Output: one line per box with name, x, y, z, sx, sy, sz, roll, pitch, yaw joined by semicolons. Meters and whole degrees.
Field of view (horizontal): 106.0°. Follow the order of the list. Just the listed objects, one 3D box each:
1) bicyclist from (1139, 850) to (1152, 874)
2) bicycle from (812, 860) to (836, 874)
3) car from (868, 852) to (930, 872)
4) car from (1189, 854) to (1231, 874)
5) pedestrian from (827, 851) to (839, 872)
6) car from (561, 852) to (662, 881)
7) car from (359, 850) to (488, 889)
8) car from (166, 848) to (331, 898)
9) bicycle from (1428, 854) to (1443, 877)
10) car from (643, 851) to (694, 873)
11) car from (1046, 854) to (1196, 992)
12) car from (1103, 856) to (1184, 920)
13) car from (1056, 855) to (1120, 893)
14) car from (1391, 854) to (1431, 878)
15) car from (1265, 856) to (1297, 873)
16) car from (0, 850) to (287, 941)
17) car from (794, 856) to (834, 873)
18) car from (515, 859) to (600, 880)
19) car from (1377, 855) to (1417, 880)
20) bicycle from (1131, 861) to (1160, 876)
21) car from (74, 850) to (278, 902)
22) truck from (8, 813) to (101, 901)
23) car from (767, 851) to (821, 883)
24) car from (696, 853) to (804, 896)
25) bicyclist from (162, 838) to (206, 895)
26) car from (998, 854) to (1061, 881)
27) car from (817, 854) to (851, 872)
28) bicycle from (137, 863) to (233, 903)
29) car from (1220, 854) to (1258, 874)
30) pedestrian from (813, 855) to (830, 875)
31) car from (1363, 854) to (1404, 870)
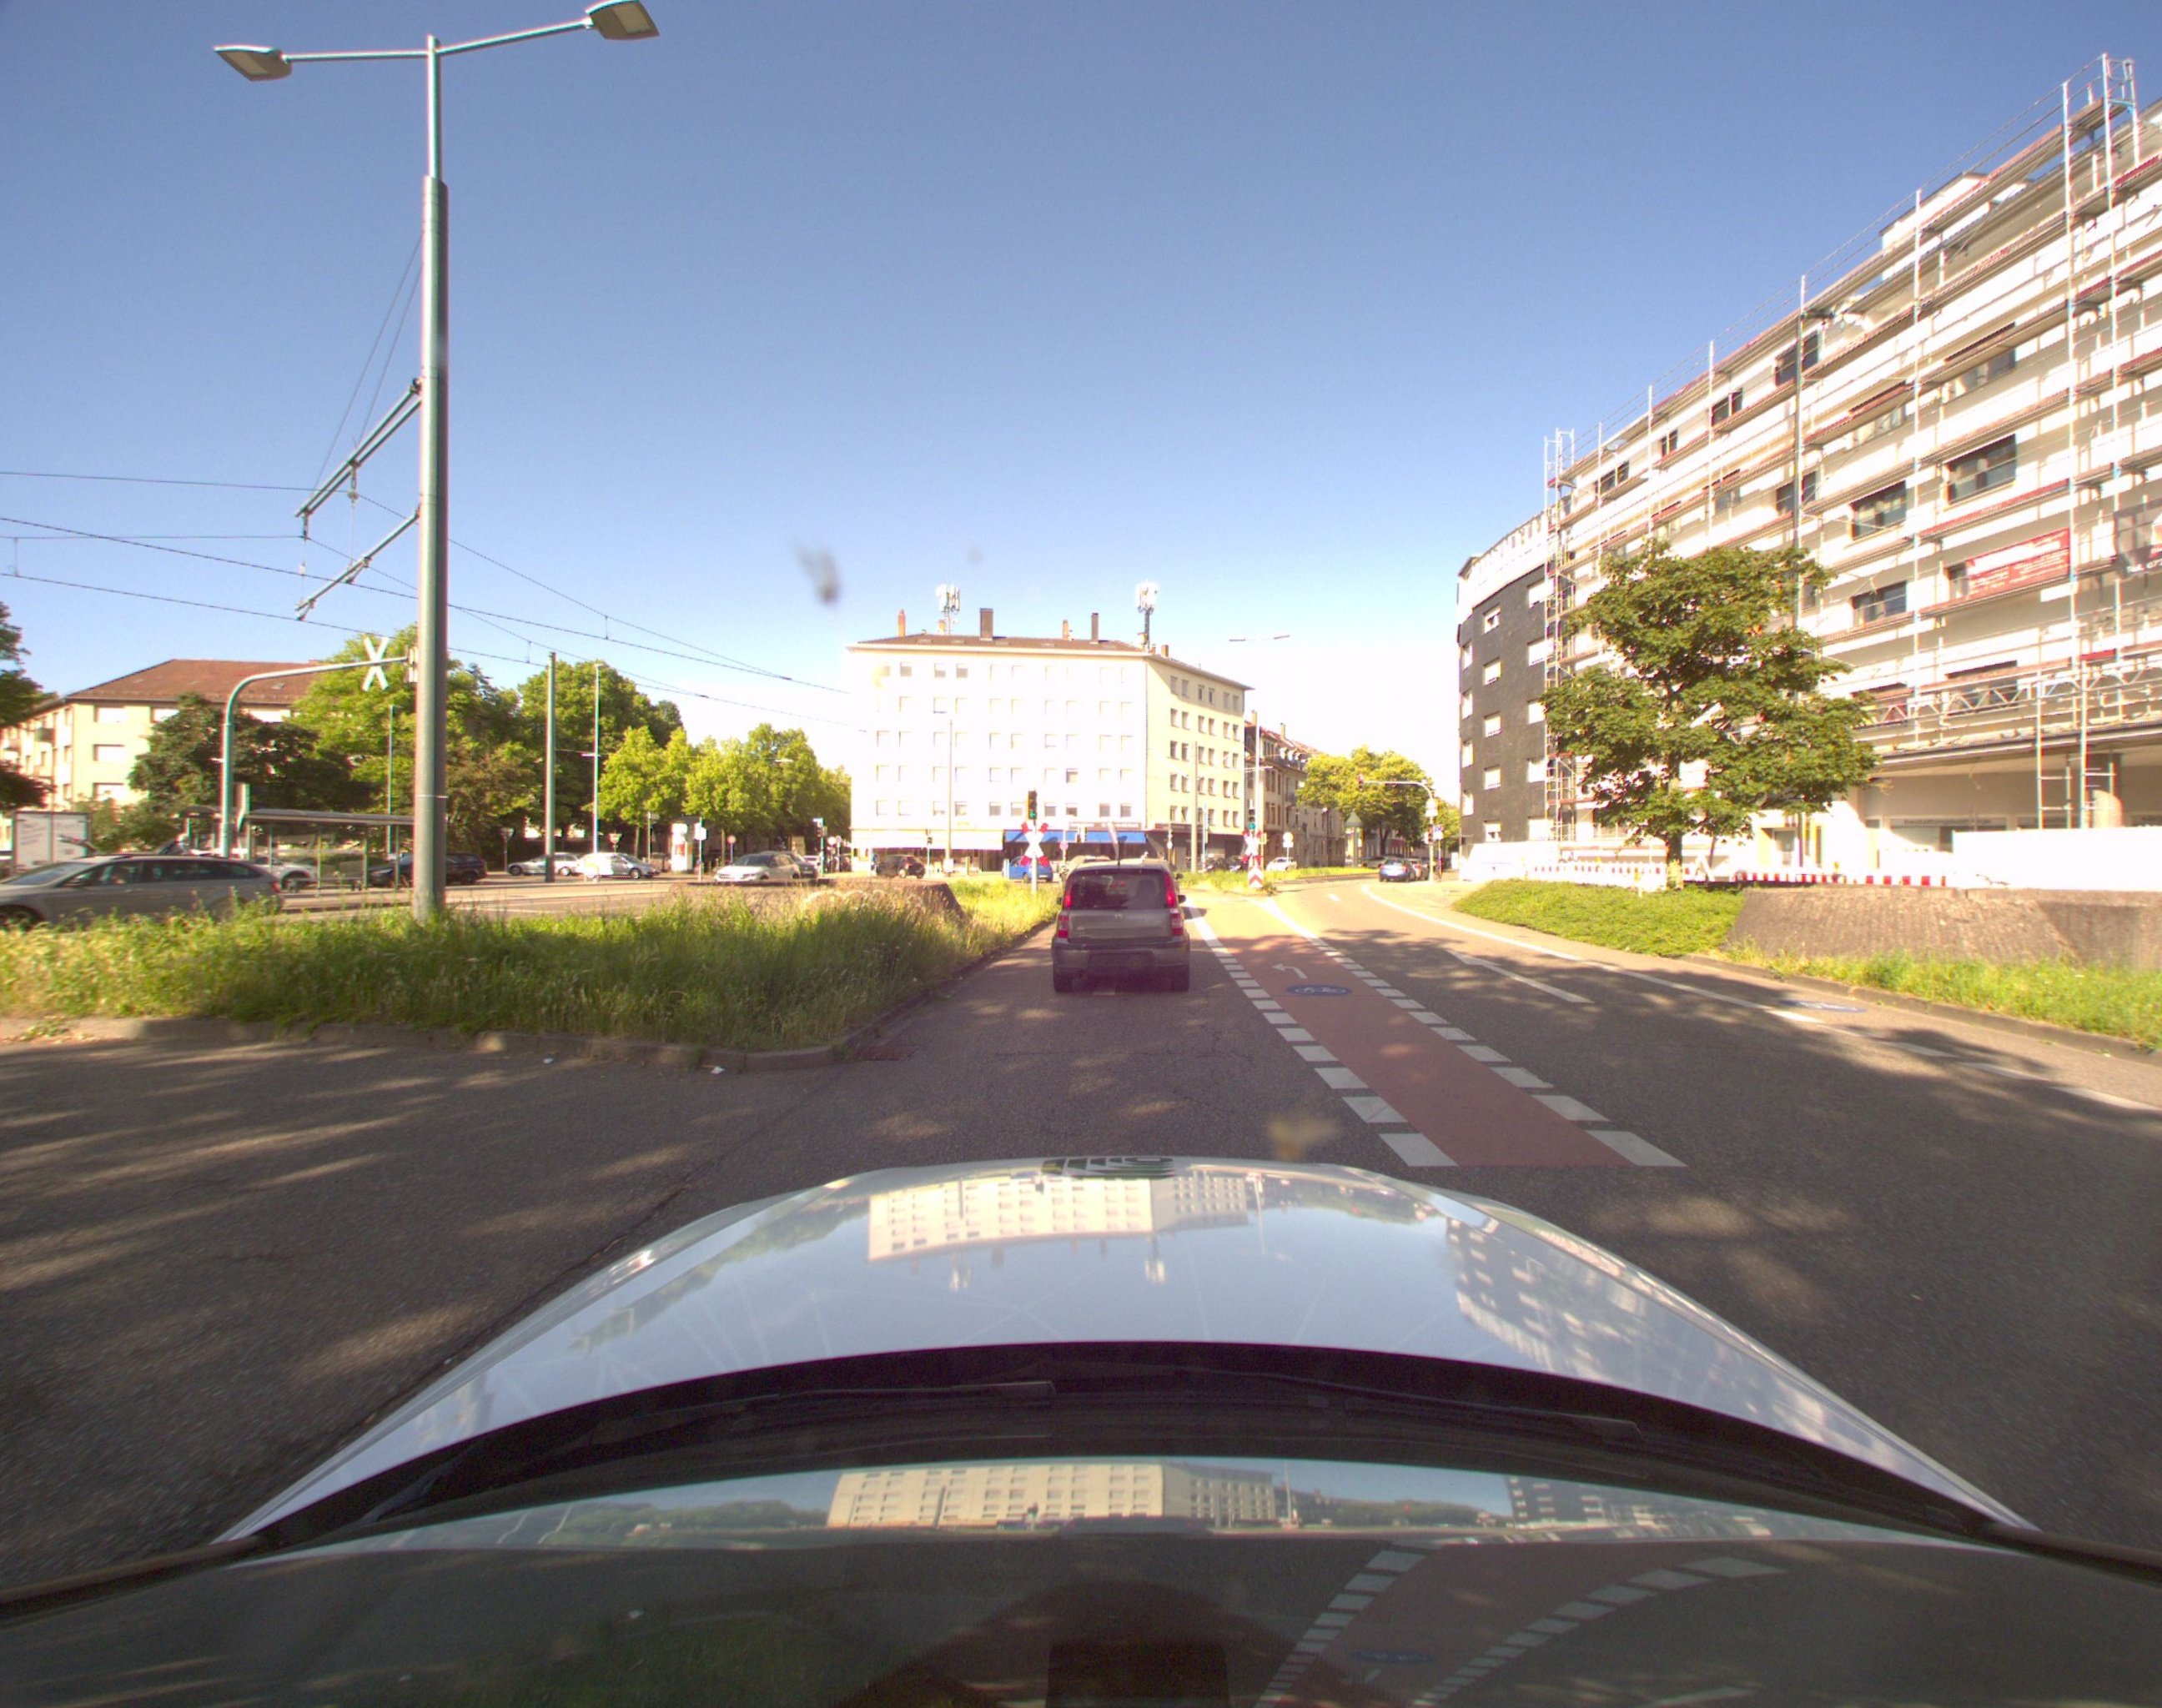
bicyclist;4.313;0.537;54.563;0.815;1.559;0.564;0;0;16
bicycle;-18.520;0.907;58.640;1.832;0.951;0.790;0;-2;40
car;-11.526;0.503;51.644;3.580;1.253;1.706;0;0;29
car;9.740;0.729;61.156;1.773;1.396;3.748;0;0;33
pedestrian;-19.844;0.599;65.215;0.795;1.621;0.823;0;0;-24
car;-27.632;0.743;48.055;4.860;1.442;1.731;-2;-1;-6
car;-28.552;0.618;35.537;1.744;1.488;4.028;3;2;19
car;-31.737;0.659;31.187;1.742;1.717;4.023;3;2;25
bicycle;23.907;0.755;54.886;0.567;1.511;2.825;0;0;31
car;-32.554;0.636;64.337;3.484;1.694;1.621;0;1;20
car;0.425;0.767;10.598;1.655;1.510;3.250;0;0;-1
car;1.469;0.776;20.264;1.617;1.429;3.685;0;0;-2
car;0.226;0.796;34.394;1.762;1.486;4.274;0;0;-13
car;21.928;0.773;54.050;1.802;1.508;4.025;0;0;31
car;18.151;0.906;73.749;1.773;1.483;3.554;0;0;33
car;-17.473;0.660;14.553;1.650;1.448;4.421;0;0;16
car;-21.457;0.797;65.588;1.989;1.310;3.996;0;0;-2
car;-32.495;0.973;50.700;3.995;1.243;1.989;1;0;-16
car;19.355;0.770;49.795;1.758;1.442;3.641;1;0;30
bicycle;4.311;0.973;54.560;1.837;1.032;0.591;0;0;15
car;-30.931;0.701;28.011;1.849;1.544;4.577;4;2;41
truck;-37.927;0.073;30.204;4.767;2.994;2.012;1;0;40
car;-15.523;0.655;43.929;1.765;1.614;4.675;0;0;-32
car;-12.746;0.757;31.701;1.983;1.562;4.395;0;0;7
bicyclist;-24.725;0.321;22.449;0.606;1.530;0.680;1;1;26
car;-2.878;0.738;44.954;3.354;1.438;1.661;0;0;44
car;-22.271;0.792;73.505;1.930;1.513;3.938;0;0;-1
bicycle;-24.714;0.785;22.493;0.606;1.001;1.668;1;1;26
car;12.839;0.767;66.177;1.773;1.565;3.790;0;0;33
pedestrian;-18.739;0.803;58.816;0.926;1.428;0.781;0;-2;40
car;29.999;0.759;80.961;1.908;1.594;3.979;0;0;-15
